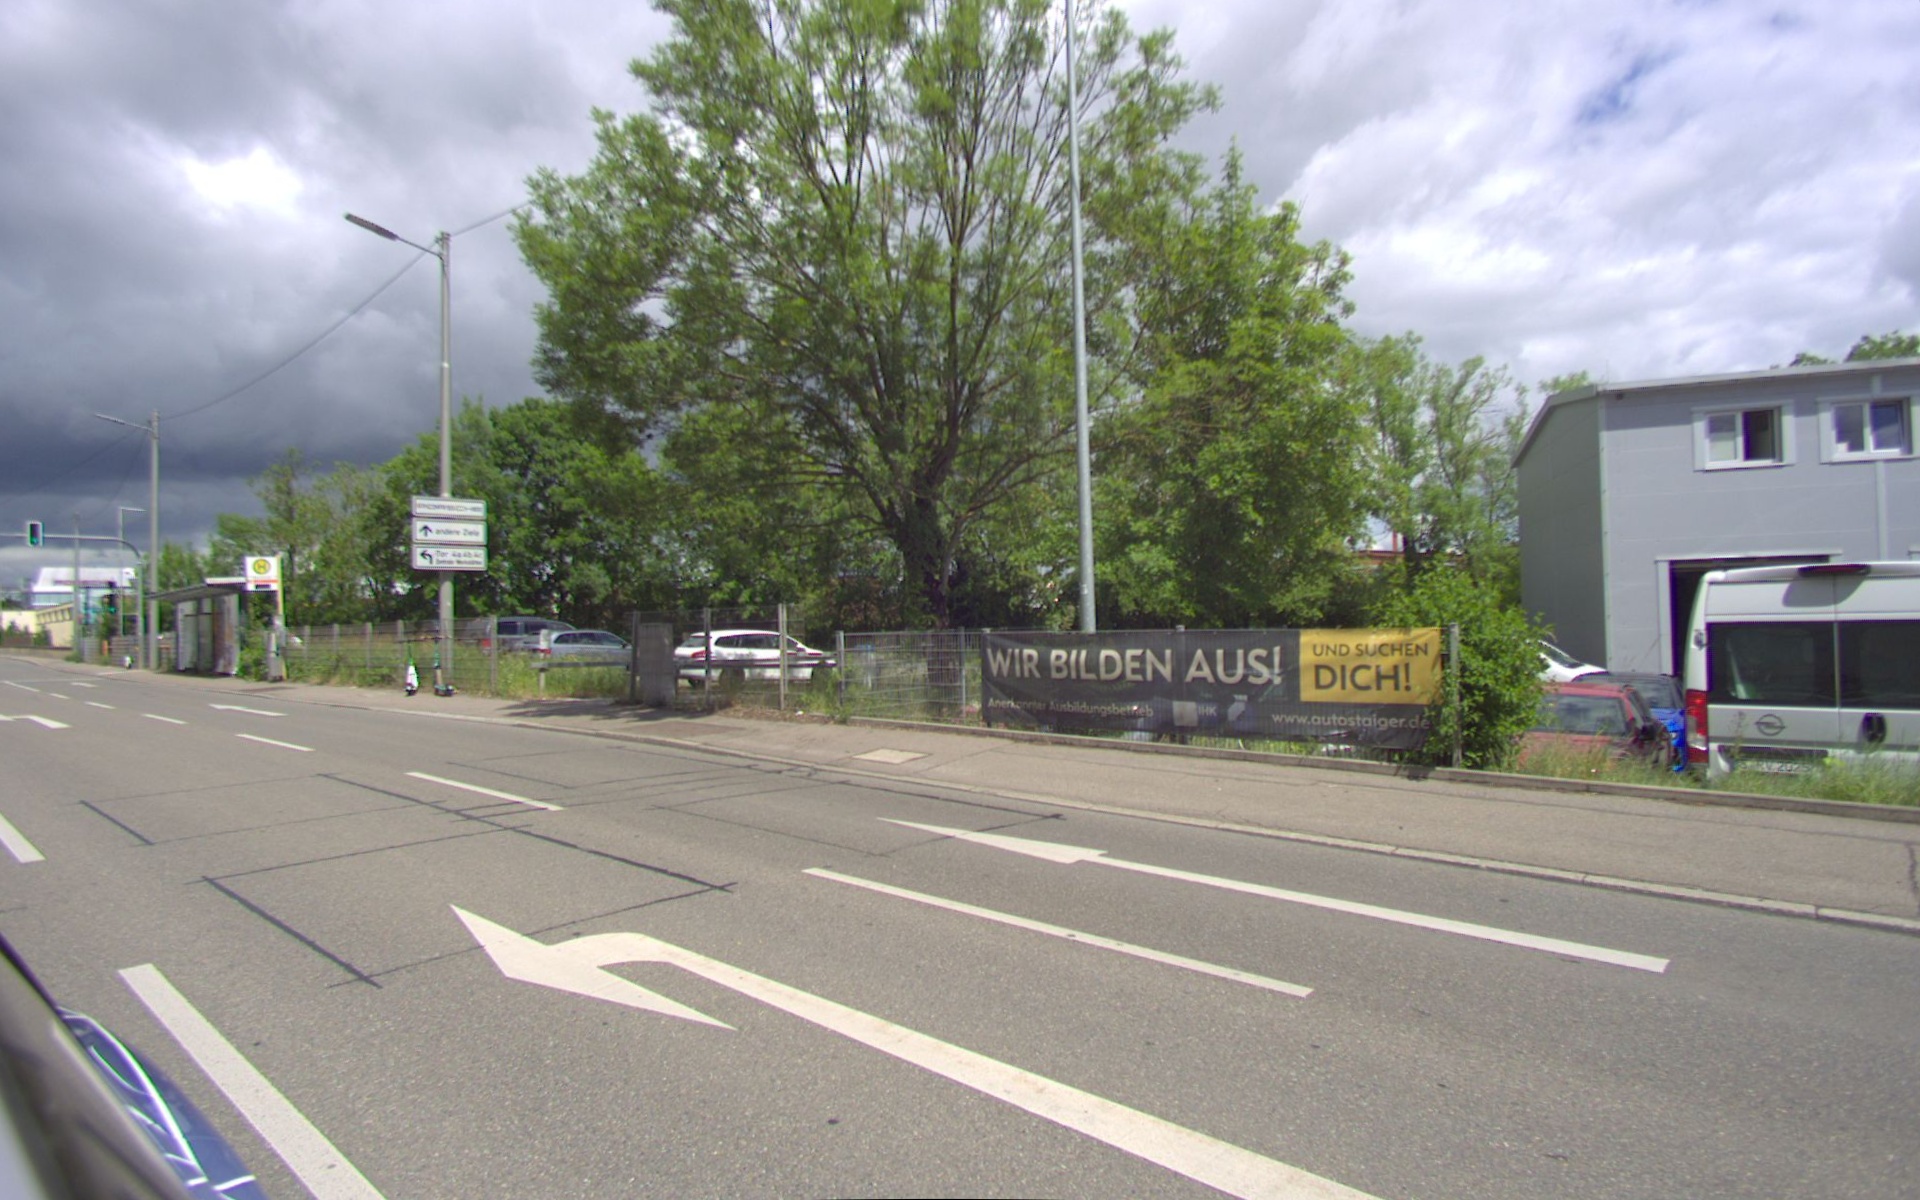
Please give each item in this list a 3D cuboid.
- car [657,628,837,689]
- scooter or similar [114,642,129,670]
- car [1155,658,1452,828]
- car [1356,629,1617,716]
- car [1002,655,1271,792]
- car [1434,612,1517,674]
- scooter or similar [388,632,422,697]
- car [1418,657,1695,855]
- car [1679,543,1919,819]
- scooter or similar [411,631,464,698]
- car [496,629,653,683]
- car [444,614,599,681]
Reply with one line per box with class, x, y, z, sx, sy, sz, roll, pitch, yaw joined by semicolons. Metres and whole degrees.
car;-5.415;1.447;26.050;4.226;1.391;1.867;0;-1;-44
scooter or similar;-38.577;2.566;46.575;0.419;1.220;1.127;-2;-1;-44
car;4.214;1.526;12.047;1.928;1.397;3.989;0;0;42
car;11.819;1.553;22.978;4.916;1.742;1.816;-2;-2;44
car;2.590;1.588;14.206;1.928;1.397;3.990;0;0;42
car;15.445;1.253;30.504;1.830;1.742;4.143;-1;-1;22
scooter or similar;-11.713;1.333;21.337;0.527;1.272;1.476;-2;0;-31
car;6.399;1.430;10.644;1.927;1.397;3.992;0;0;39
car;8.110;0.602;9.249;2.196;2.029;4.119;-3;-2;39
scooter or similar;-10.539;1.279;20.404;0.528;1.275;1.473;-2;0;-43
car;-11.844;1.666;31.346;1.905;1.498;4.242;-1;-1;33
car;-14.473;1.510;33.603;2.136;2.029;4.240;-1;-1;34
